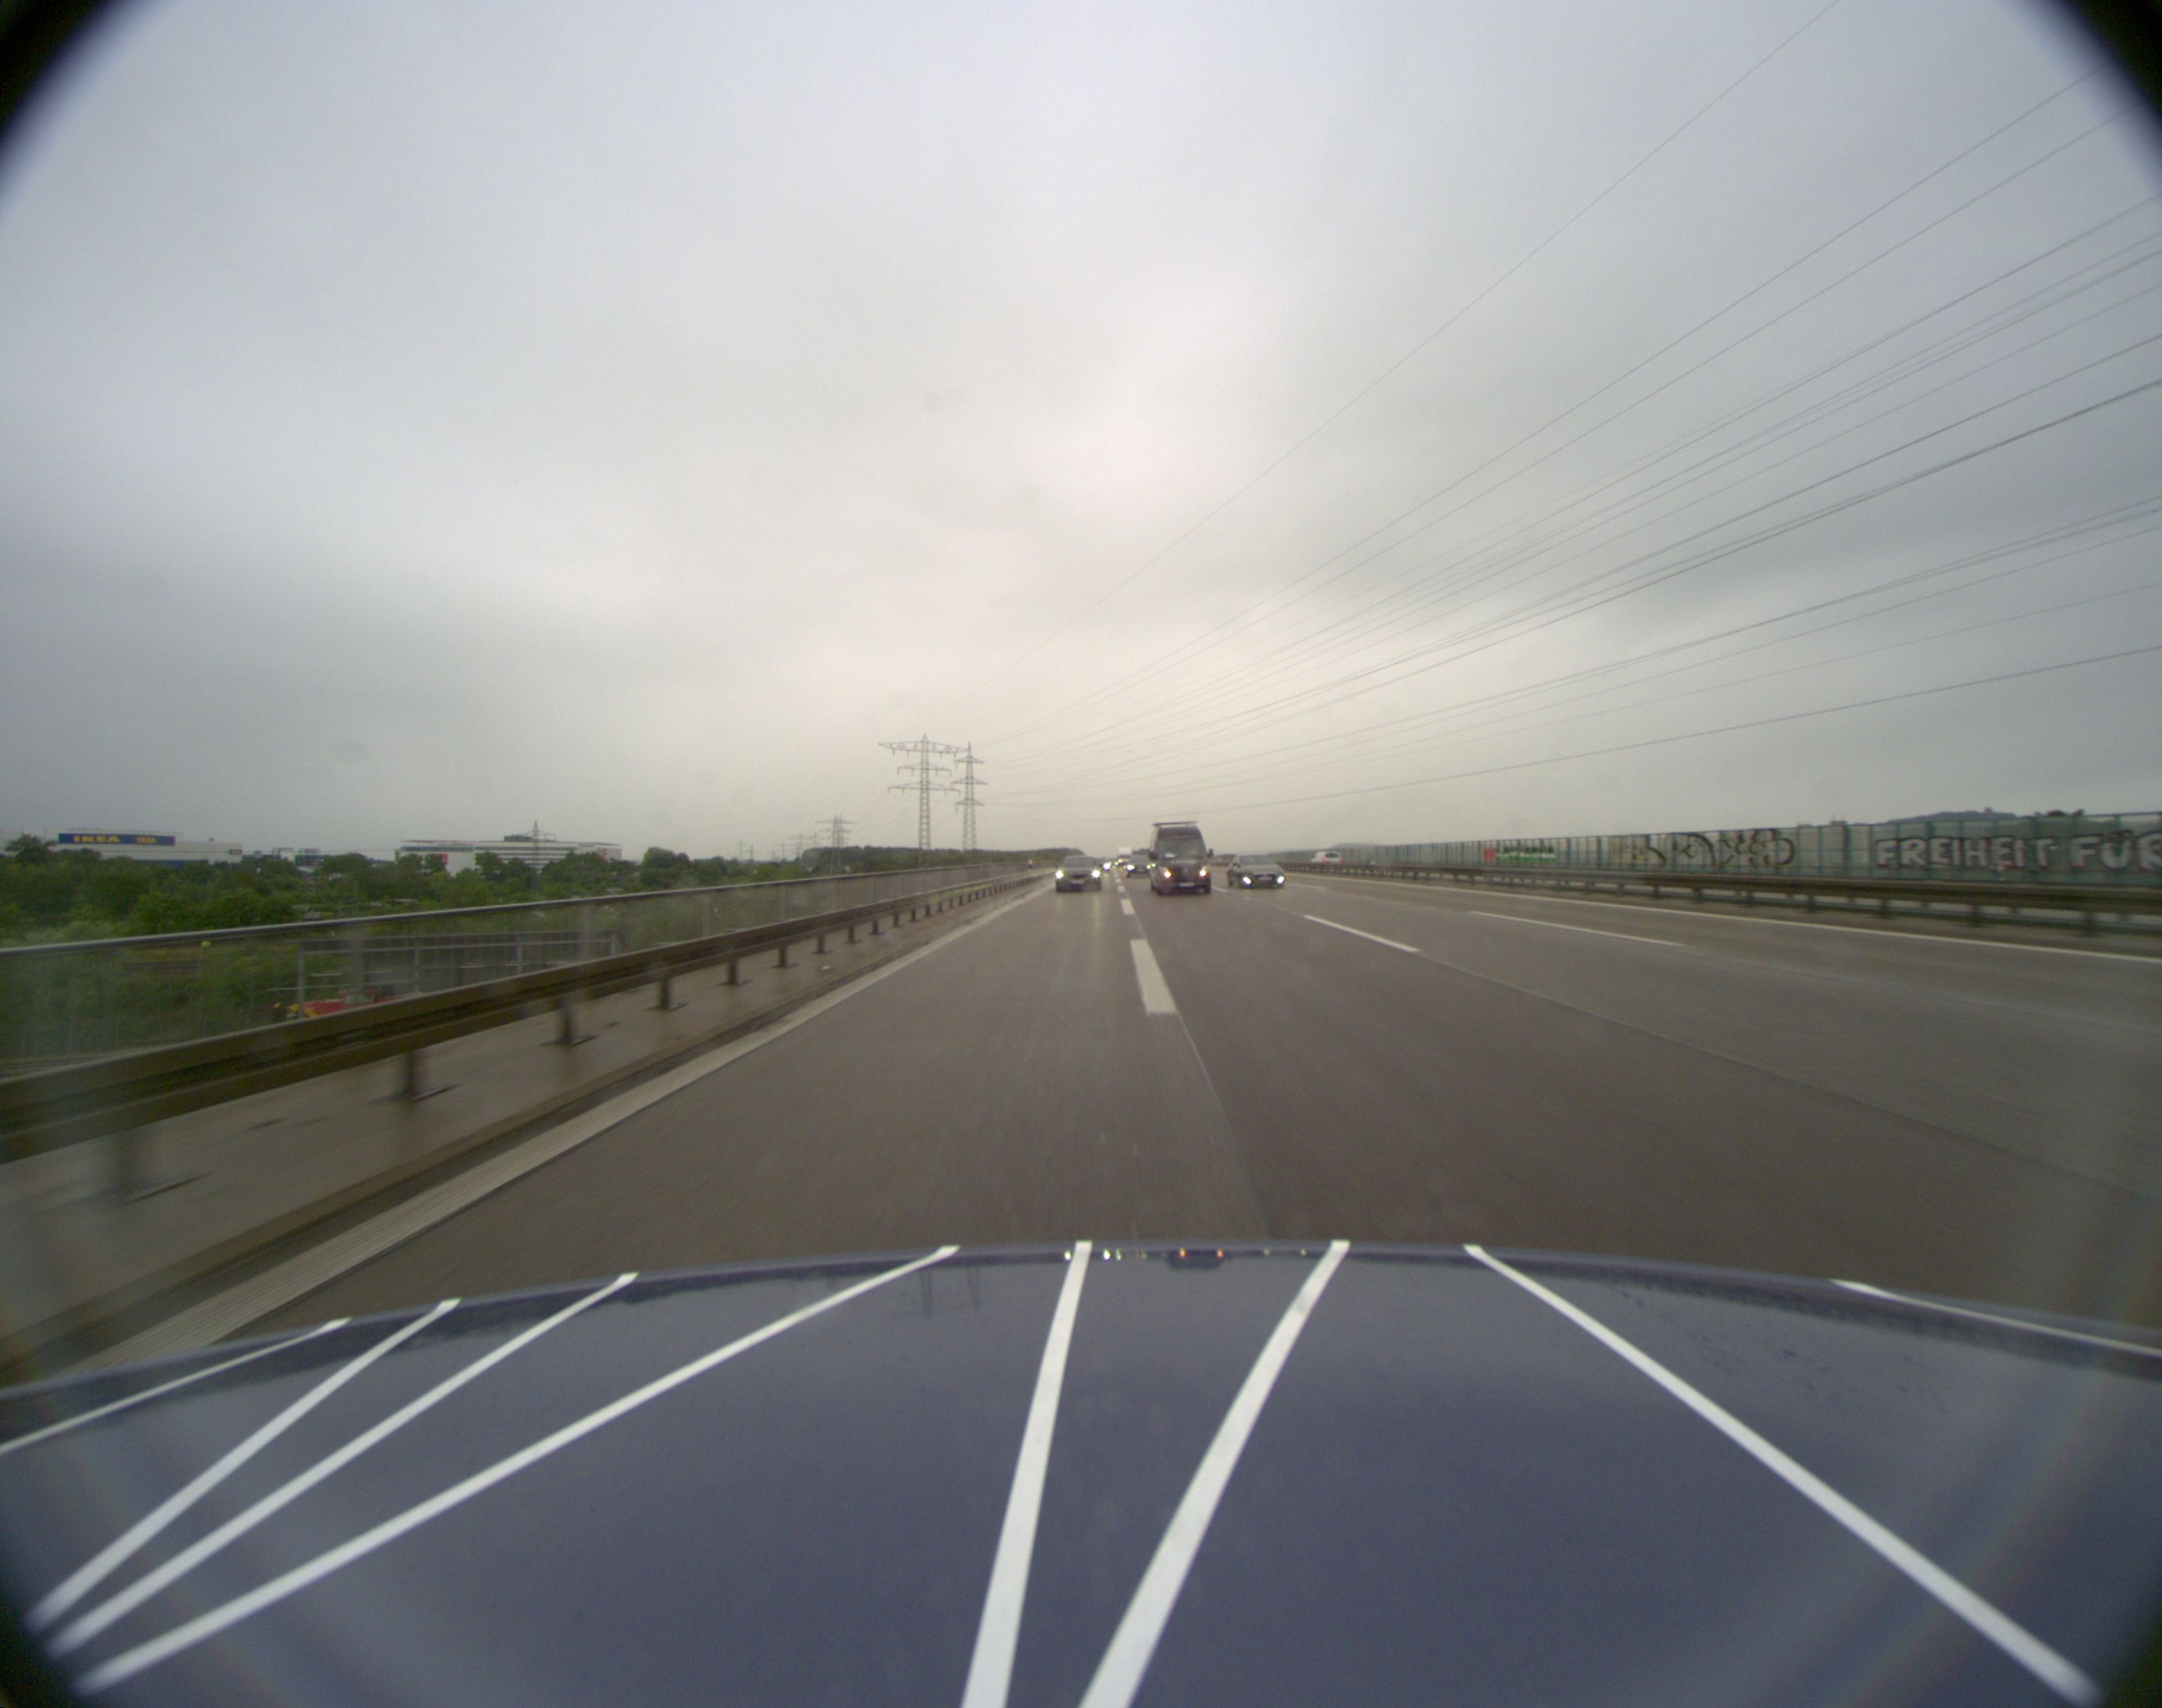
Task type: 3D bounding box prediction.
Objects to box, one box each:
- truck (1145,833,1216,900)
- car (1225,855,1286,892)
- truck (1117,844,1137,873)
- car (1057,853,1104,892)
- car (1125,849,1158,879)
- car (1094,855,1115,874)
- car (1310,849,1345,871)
[{"bbox_3d":[3.771,0.398,29.791,1.998,2.324,6.110,-1,1,0],"label":"truck"},{"bbox_3d":[7.273,0.808,32.182,1.729,1.394,4.831,-2,-1,4],"label":"car"},{"bbox_3d":[7.167,0.781,118.910,2.703,4.171,8.926,-2,-1,1],"label":"truck"},{"bbox_3d":[0.010,0.761,33.101,1.862,1.531,4.203,-2,0,1],"label":"car"},{"bbox_3d":[4.188,0.681,53.402,1.998,2.002,4.785,-2,0,1],"label":"car"},{"bbox_3d":[2.287,1.017,73.493,1.998,1.706,4.000,1,1,2],"label":"car"},{"bbox_3d":[25.099,0.582,77.565,1.998,2.002,5.011,-2,1,1],"label":"car"}]
